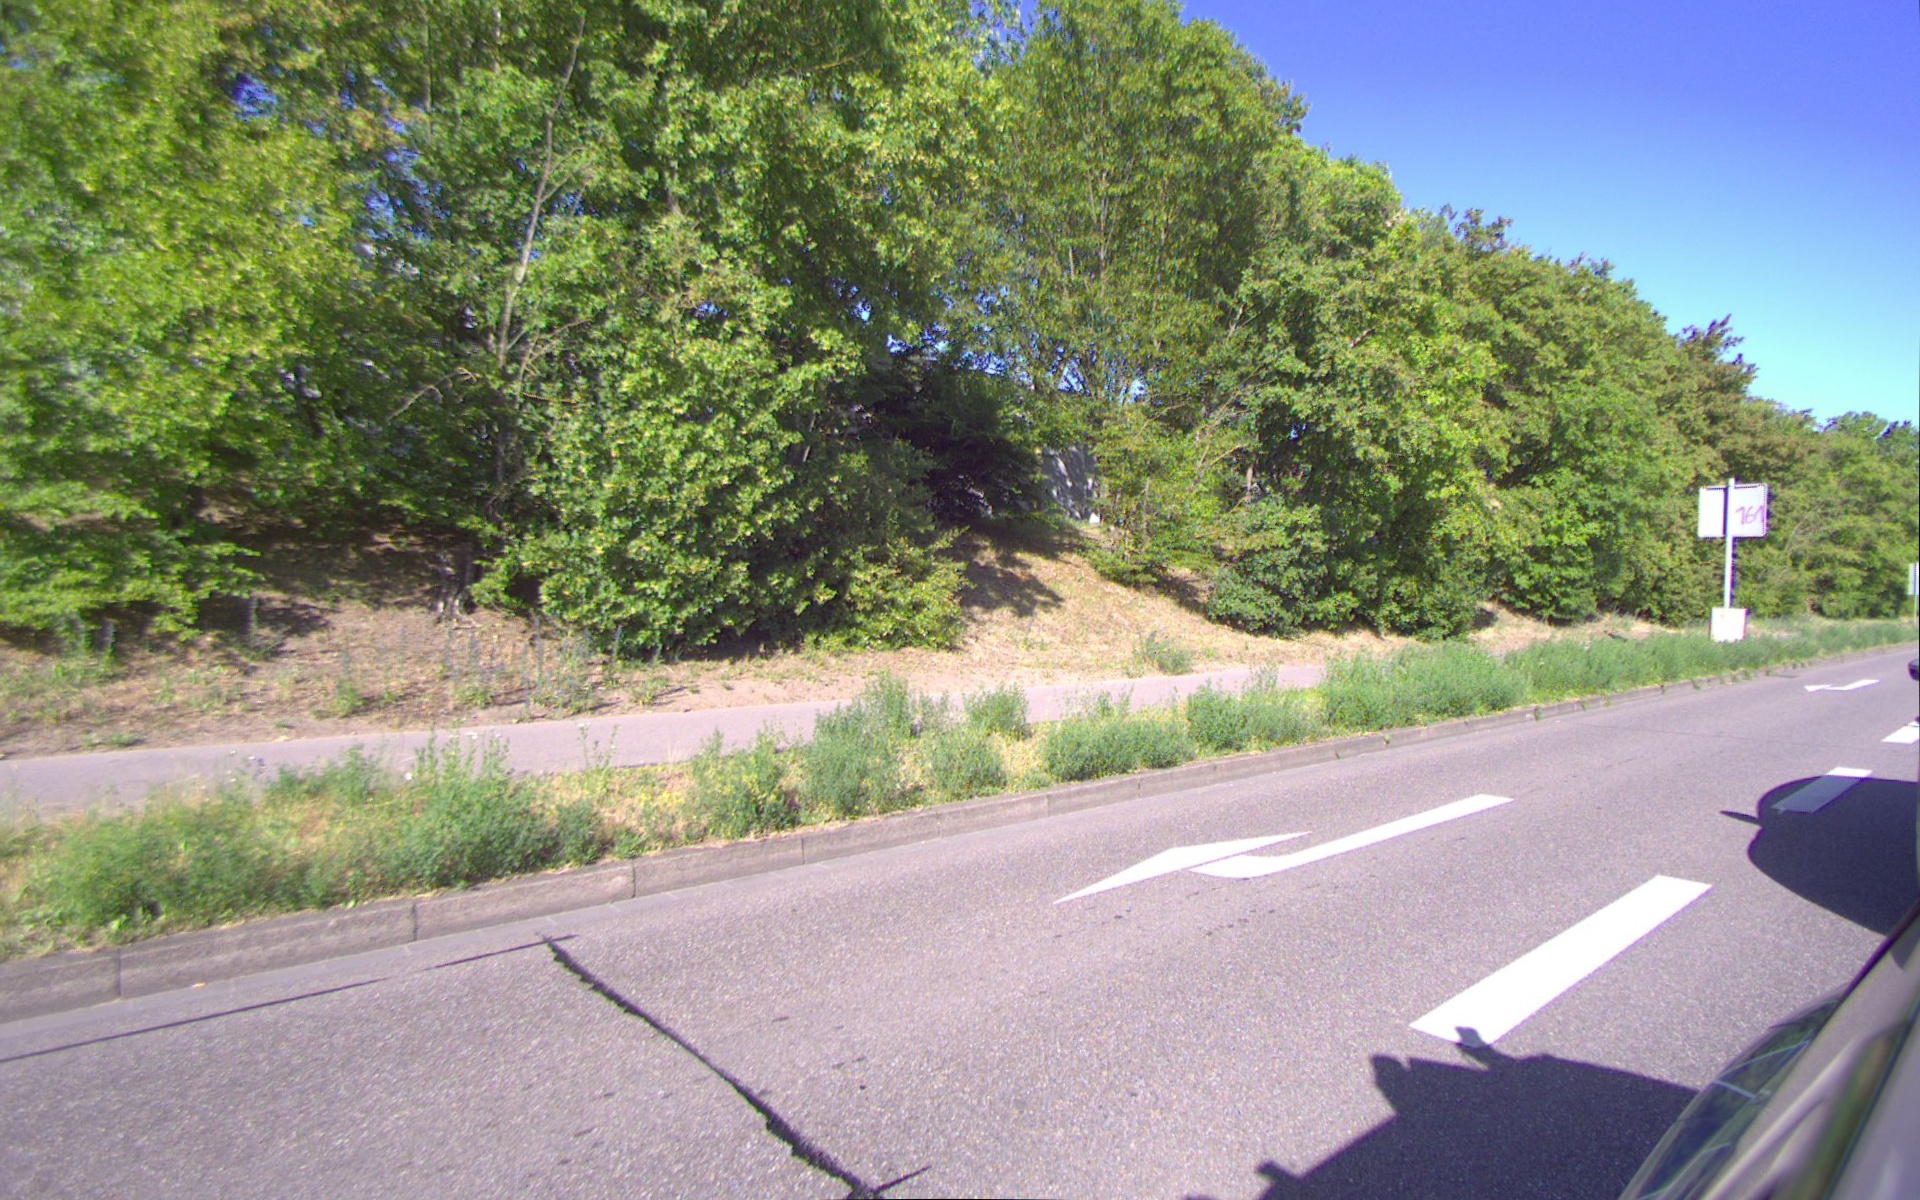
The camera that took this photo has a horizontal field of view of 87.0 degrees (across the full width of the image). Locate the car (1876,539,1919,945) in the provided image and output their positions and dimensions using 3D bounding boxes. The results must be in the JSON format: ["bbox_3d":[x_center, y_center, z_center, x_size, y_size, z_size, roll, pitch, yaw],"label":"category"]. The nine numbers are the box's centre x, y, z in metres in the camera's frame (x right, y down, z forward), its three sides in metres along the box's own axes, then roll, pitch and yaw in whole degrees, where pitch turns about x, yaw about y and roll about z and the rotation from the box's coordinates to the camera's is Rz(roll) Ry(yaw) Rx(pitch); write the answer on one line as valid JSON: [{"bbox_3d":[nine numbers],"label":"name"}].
[{"bbox_3d":[5.939,0.577,4.710,4.026,1.631,2.023,0,0,-41],"label":"car"}]
